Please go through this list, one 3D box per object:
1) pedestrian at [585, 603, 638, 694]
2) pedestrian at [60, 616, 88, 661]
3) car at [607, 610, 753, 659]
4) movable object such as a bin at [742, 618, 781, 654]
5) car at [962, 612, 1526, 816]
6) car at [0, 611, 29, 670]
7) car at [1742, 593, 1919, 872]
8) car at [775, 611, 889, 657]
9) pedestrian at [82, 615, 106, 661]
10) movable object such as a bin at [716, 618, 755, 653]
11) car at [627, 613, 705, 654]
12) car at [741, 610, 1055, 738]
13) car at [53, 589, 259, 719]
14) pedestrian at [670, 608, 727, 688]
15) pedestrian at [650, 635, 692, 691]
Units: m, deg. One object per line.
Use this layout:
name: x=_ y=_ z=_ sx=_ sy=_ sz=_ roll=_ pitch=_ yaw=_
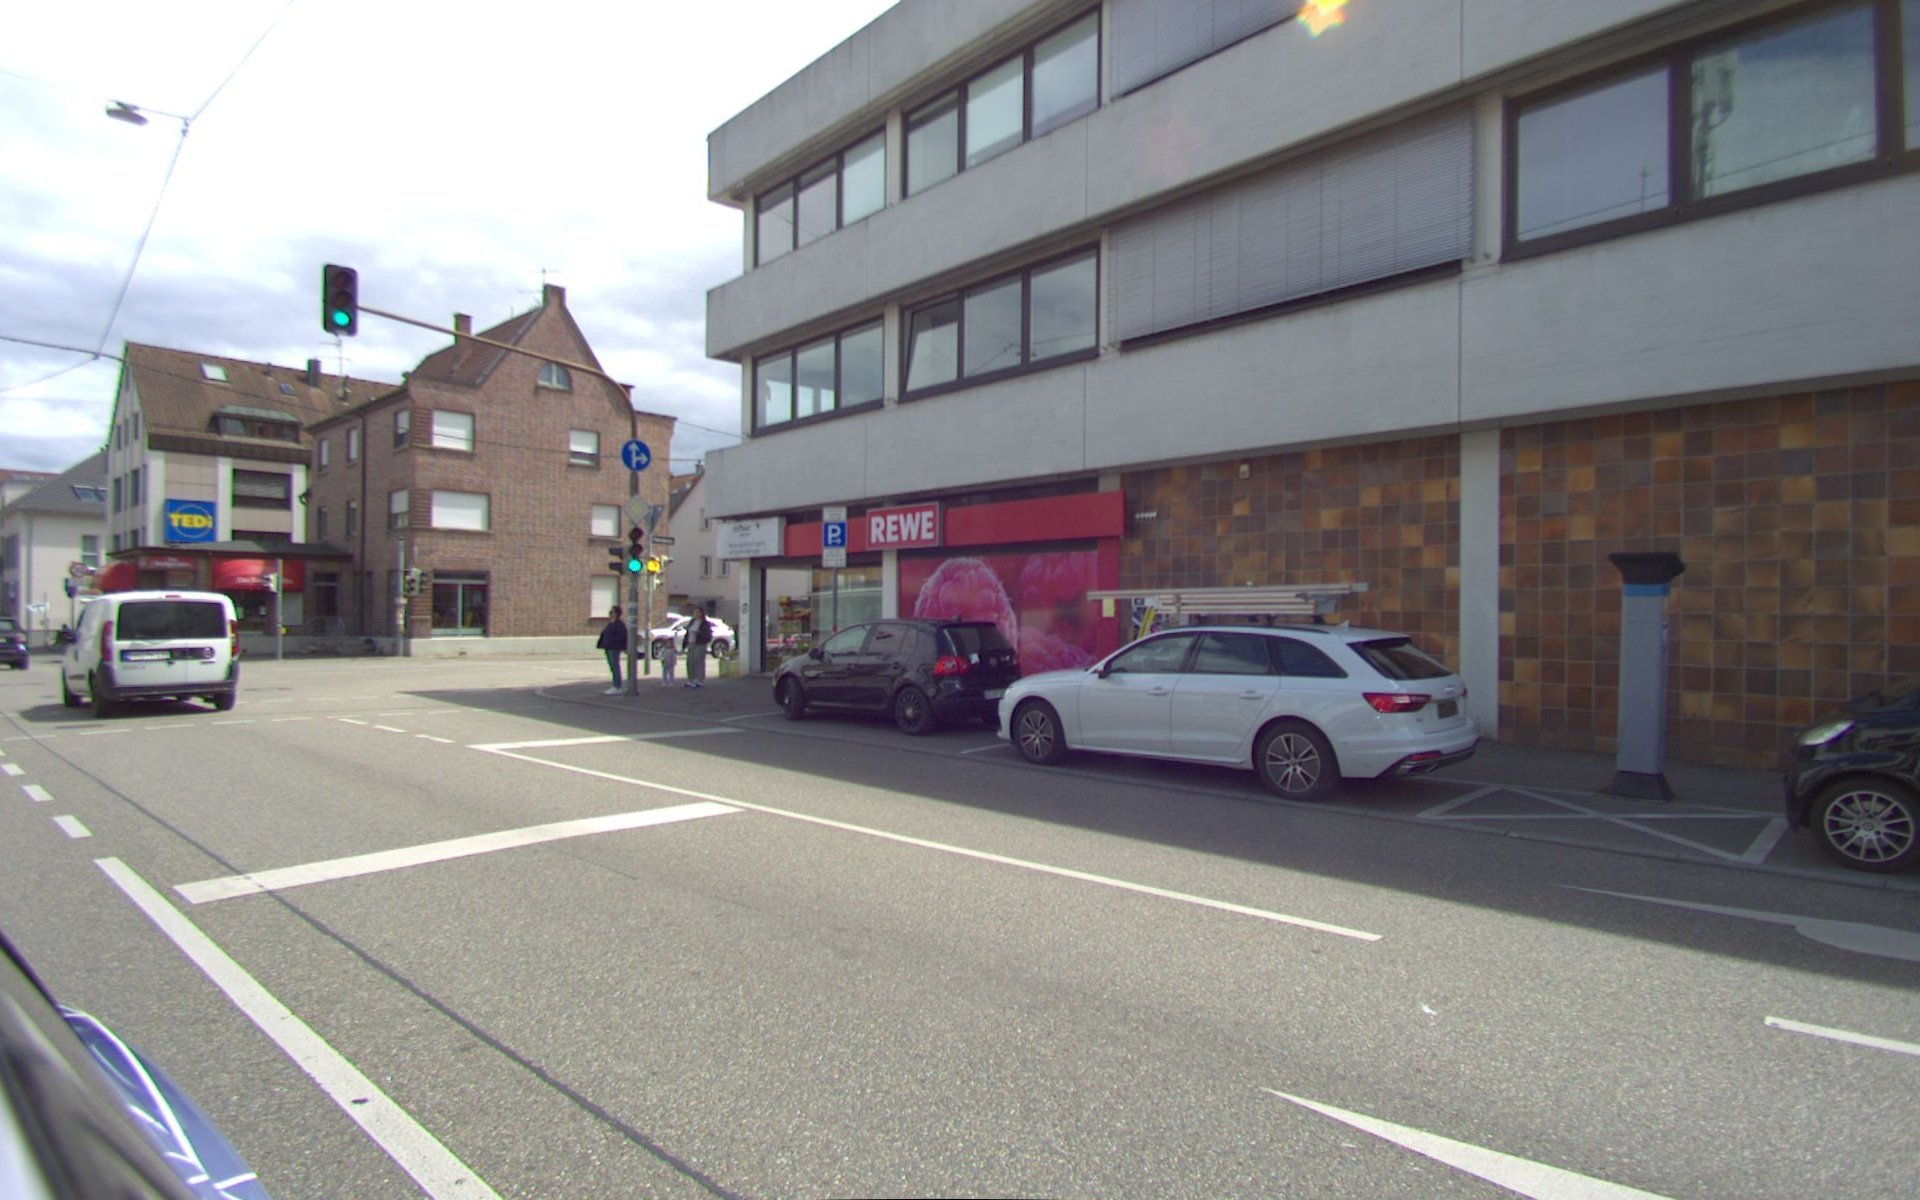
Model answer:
pedestrian: x=-6.556 y=0.903 z=19.052 sx=0.709 sy=1.657 sz=0.682 roll=-1 pitch=-1 yaw=-43
pedestrian: x=-34.123 y=1.469 z=38.978 sx=0.768 sy=1.708 sz=0.797 roll=2 pitch=-2 yaw=-42
car: x=-10.846 y=1.342 z=39.478 sx=2.001 sy=1.782 sz=5.183 roll=-2 pitch=-3 yaw=45
movable object such as a bin: x=-9.647 y=1.736 z=49.176 sx=1.498 sy=1.637 sz=1.146 roll=-1 pitch=0 yaw=-45
car: x=2.476 y=0.881 z=9.877 sx=2.021 sy=1.455 sz=4.955 roll=0 pitch=-1 yaw=-44
car: x=-28.146 y=1.161 z=29.122 sx=2.832 sy=1.648 sz=1.659 roll=-1 pitch=-2 yaw=40
car: x=6.522 y=0.730 z=5.760 sx=1.716 sy=1.567 sz=3.058 roll=0 pitch=-1 yaw=-44
car: x=-5.118 y=1.368 z=40.908 sx=2.000 sy=1.768 sz=4.290 roll=-1 pitch=-2 yaw=42
pedestrian: x=-33.679 y=1.470 z=39.357 sx=0.673 sy=1.729 sz=0.878 roll=2 pitch=-2 yaw=-42
movable object such as a bin: x=-11.200 y=1.748 z=50.490 sx=1.498 sy=1.637 sz=1.146 roll=-1 pitch=0 yaw=-45
car: x=-13.803 y=1.552 z=47.432 sx=3.701 sy=1.877 sz=1.845 roll=-1 pitch=-2 yaw=42
car: x=-0.985 y=0.915 z=14.161 sx=4.286 sy=1.486 sz=2.021 roll=-1 pitch=-1 yaw=44
car: x=-13.122 y=0.817 z=16.437 sx=4.277 sy=1.835 sz=1.924 roll=-1 pitch=-2 yaw=42
pedestrian: x=-5.294 y=0.950 z=20.491 sx=0.809 sy=1.566 sz=0.847 roll=-1 pitch=-1 yaw=-42
pedestrian: x=-5.757 y=1.248 z=20.158 sx=0.552 sy=1.065 sz=0.663 roll=-1 pitch=-1 yaw=-42
